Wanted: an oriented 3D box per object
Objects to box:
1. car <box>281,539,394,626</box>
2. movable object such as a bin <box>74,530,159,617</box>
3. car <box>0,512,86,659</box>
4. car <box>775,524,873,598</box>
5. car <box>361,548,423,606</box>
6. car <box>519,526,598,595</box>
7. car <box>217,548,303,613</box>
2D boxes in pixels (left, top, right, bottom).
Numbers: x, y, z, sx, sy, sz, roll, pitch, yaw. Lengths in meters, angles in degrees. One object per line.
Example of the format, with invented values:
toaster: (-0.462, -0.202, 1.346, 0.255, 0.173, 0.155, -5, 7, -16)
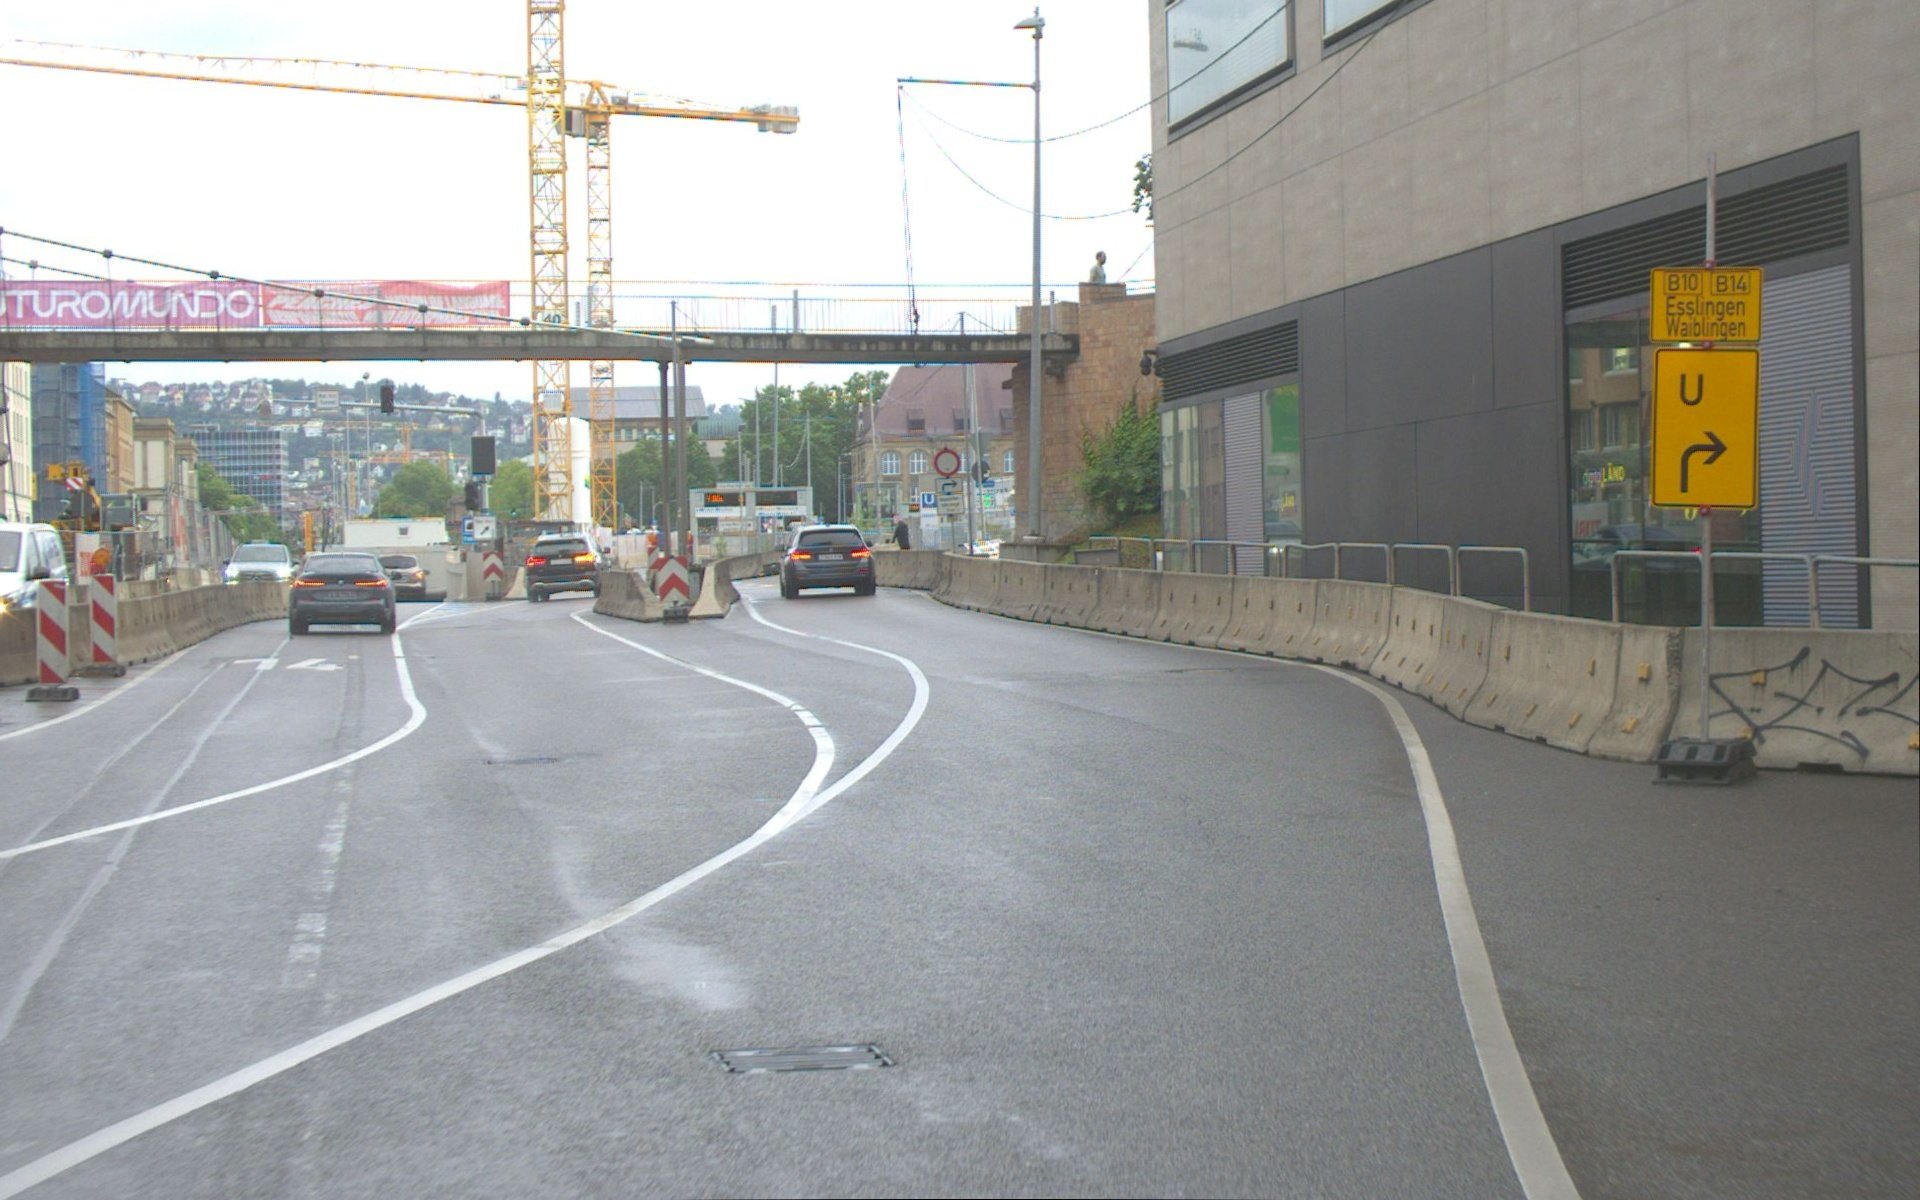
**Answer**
car: (-10.979, -0.343, 60.640, 1.862, 1.438, 4.657, -1, 1, -10)
movable object such as a bin: (-24.114, -0.763, 98.396, 2.026, 2.269, 4.294, -5, 2, -12)
car: (-13.273, -0.221, 46.335, 1.993, 1.878, 4.871, -1, 1, -4)
car: (-2.725, -0.825, 69.878, 1.863, 1.428, 4.657, -1, 1, -1)
car: (-18.167, -0.764, 109.848, 1.862, 1.759, 4.657, -1, 1, -10)
car: (-10.102, -1.006, 86.277, 1.862, 1.655, 4.657, -1, 1, -7)
car: (-19.182, -0.549, 94.314, 1.993, 1.617, 4.703, -2, 2, -8)
